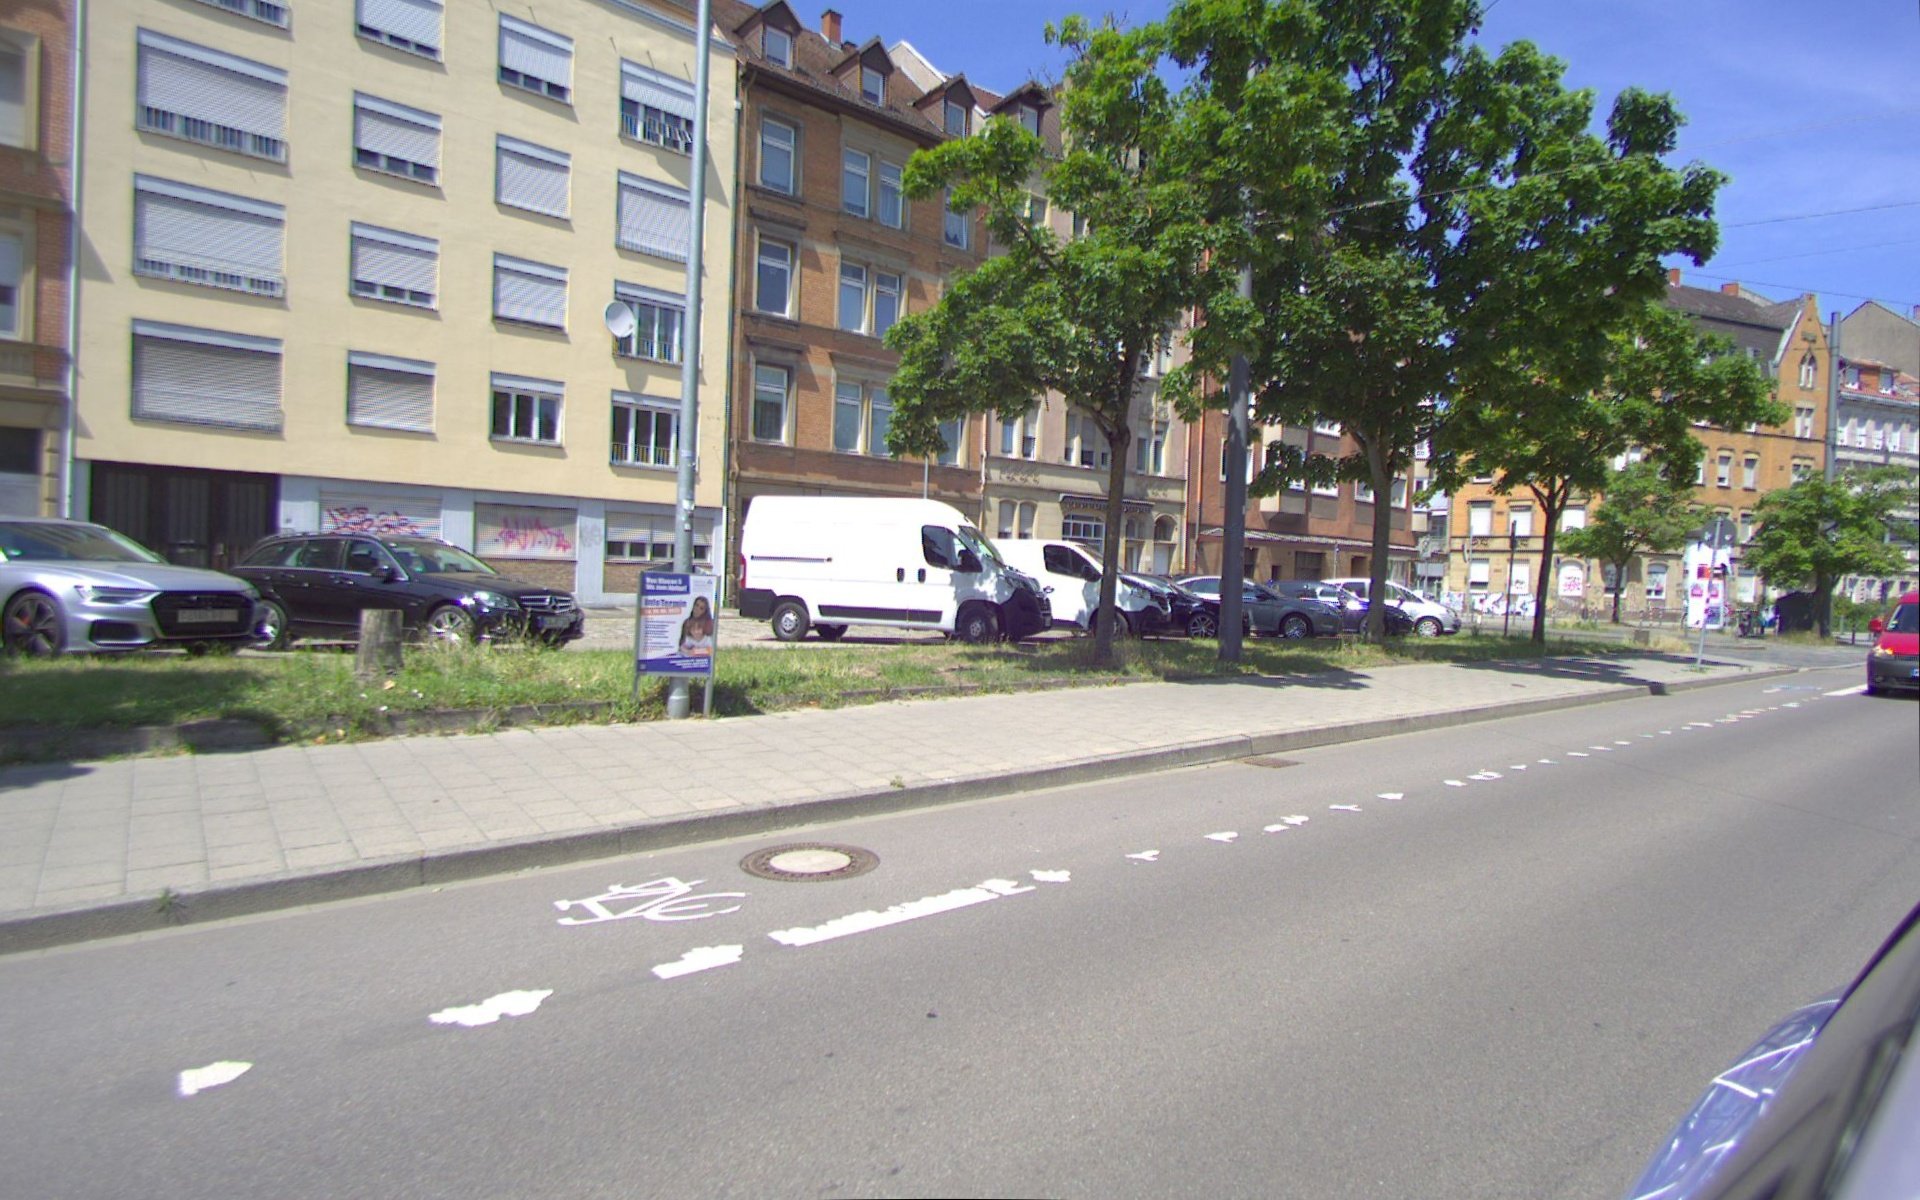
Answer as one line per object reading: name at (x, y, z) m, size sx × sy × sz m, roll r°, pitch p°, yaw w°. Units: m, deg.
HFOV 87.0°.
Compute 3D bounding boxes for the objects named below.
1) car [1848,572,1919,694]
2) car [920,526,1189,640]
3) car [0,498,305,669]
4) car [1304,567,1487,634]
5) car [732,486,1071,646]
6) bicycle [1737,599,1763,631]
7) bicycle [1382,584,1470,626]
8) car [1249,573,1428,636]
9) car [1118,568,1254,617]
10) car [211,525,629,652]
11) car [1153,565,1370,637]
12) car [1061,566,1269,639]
car at (16.632, 0.518, 16.669) m, size 5.068 × 1.857 × 1.861 m, roll 1°, pitch 1°, yaw -35°
car at (1.833, -0.357, 19.590) m, size 4.793 × 1.998 × 2.061 m, roll 1°, pitch 0°, yaw 23°
car at (-9.257, -0.197, 10.135) m, size 4.625 × 1.445 × 1.963 m, roll 1°, pitch 1°, yaw 15°
car at (11.815, -0.028, 27.523) m, size 4.375 × 1.652 × 1.979 m, roll 1°, pitch 1°, yaw 30°
car at (-0.963, -0.593, 17.599) m, size 5.472 × 2.491 × 2.227 m, roll 1°, pitch 0°, yaw 15°
bicycle at (30.232, 0.567, 38.739) m, size 1.679 × 1.167 × 0.487 m, roll 1°, pitch 0°, yaw -42°
bicycle at (13.953, 0.157, 30.337) m, size 2.312 × 1.208 × 0.742 m, roll 1°, pitch 0°, yaw -7°
car at (9.490, 0.076, 25.442) m, size 3.967 × 1.417 × 1.804 m, roll 1°, pitch 1°, yaw 31°
car at (7.901, -0.246, 35.306) m, size 4.508 × 1.620 × 2.002 m, roll 1°, pitch 1°, yaw -32°
car at (-6.522, -0.177, 12.374) m, size 4.368 × 1.355 × 1.963 m, roll 1°, pitch 1°, yaw 15°
car at (7.009, -0.014, 23.596) m, size 4.590 × 1.516 × 1.946 m, roll 1°, pitch 1°, yaw 28°
car at (4.335, 0.010, 21.540) m, size 3.967 × 1.404 × 1.804 m, roll 1°, pitch 1°, yaw 31°
